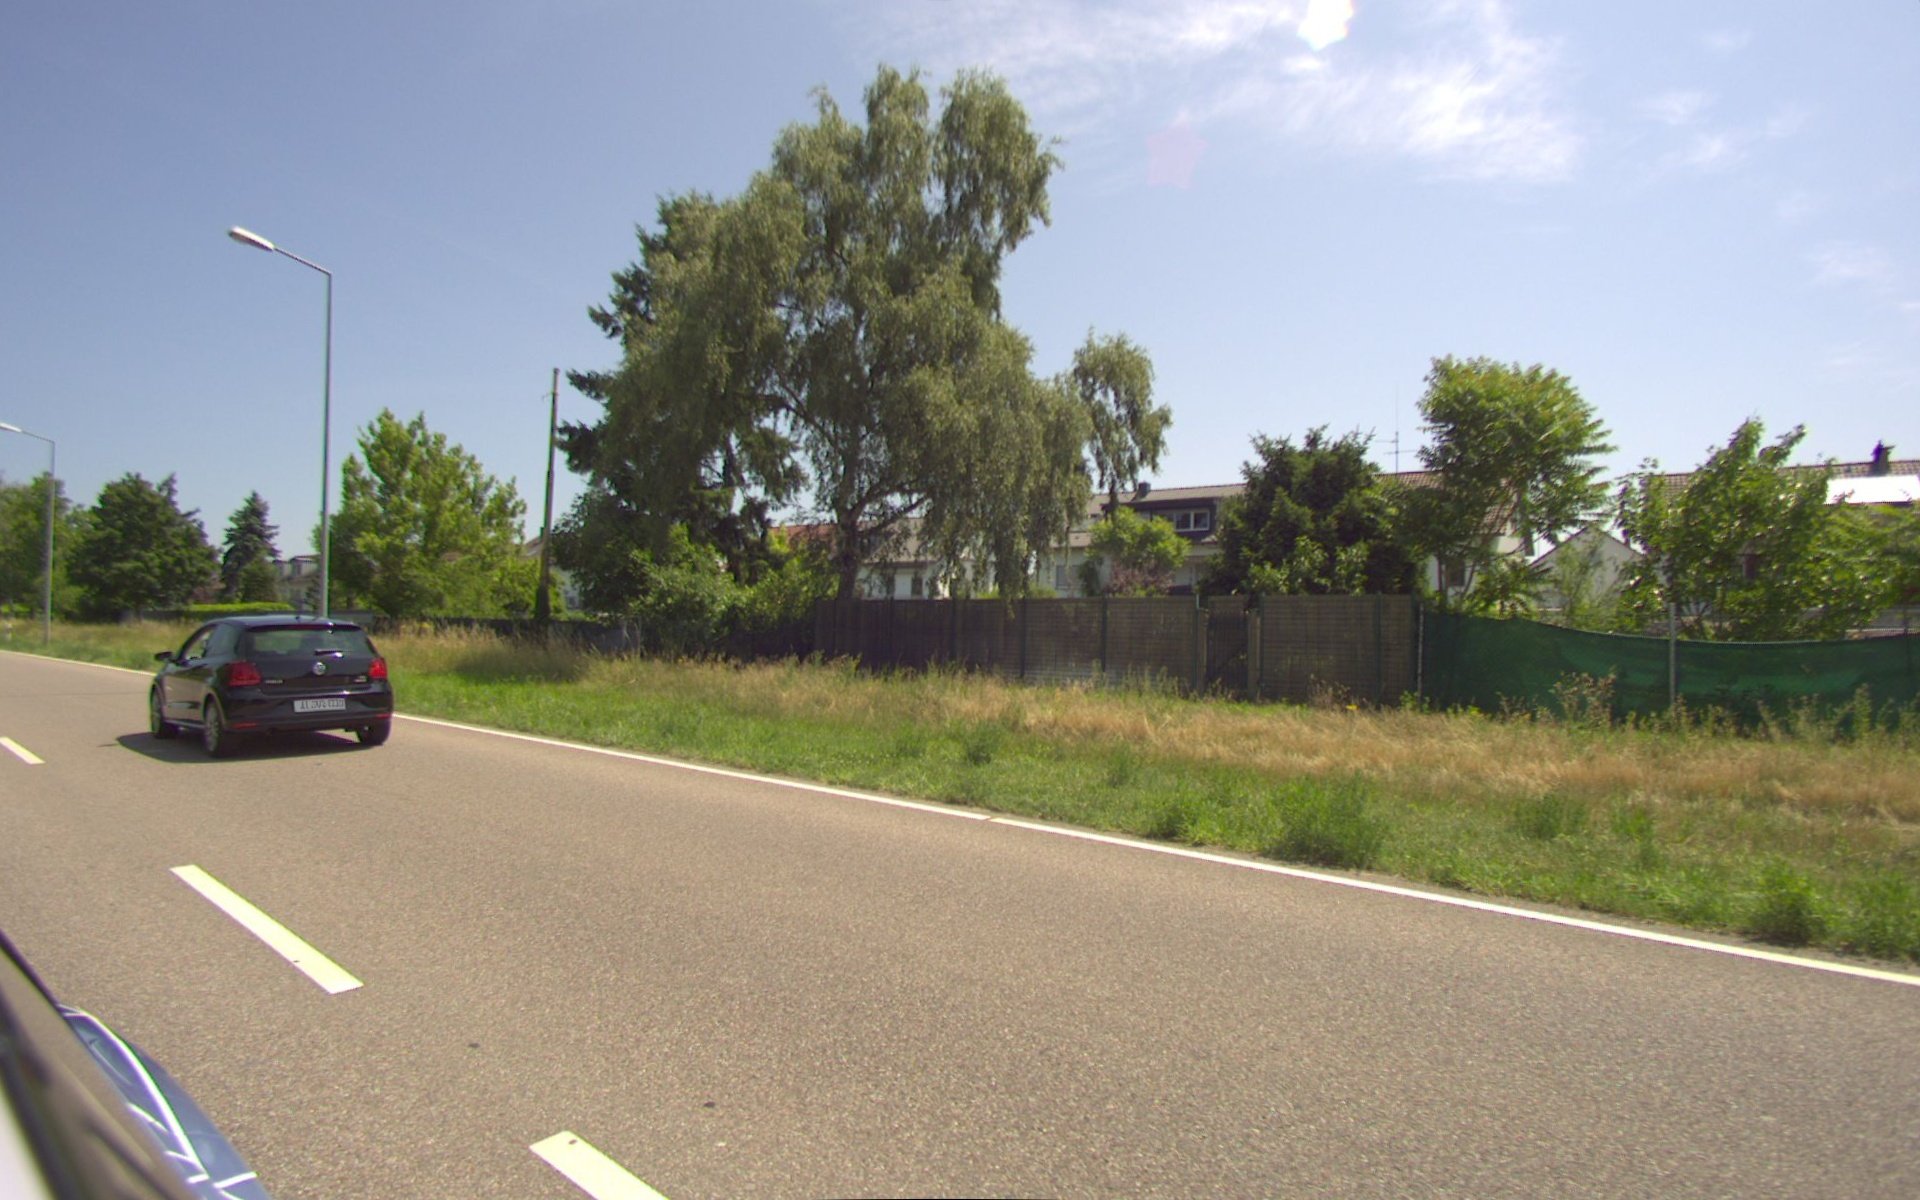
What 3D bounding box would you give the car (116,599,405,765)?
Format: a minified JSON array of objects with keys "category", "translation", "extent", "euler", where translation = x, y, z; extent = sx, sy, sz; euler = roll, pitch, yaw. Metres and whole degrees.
[{"category":"car","translation":[-8.062,0.815,11.547],"extent":[3.963,1.582,1.667],"euler":[-1,-2,39]}]
